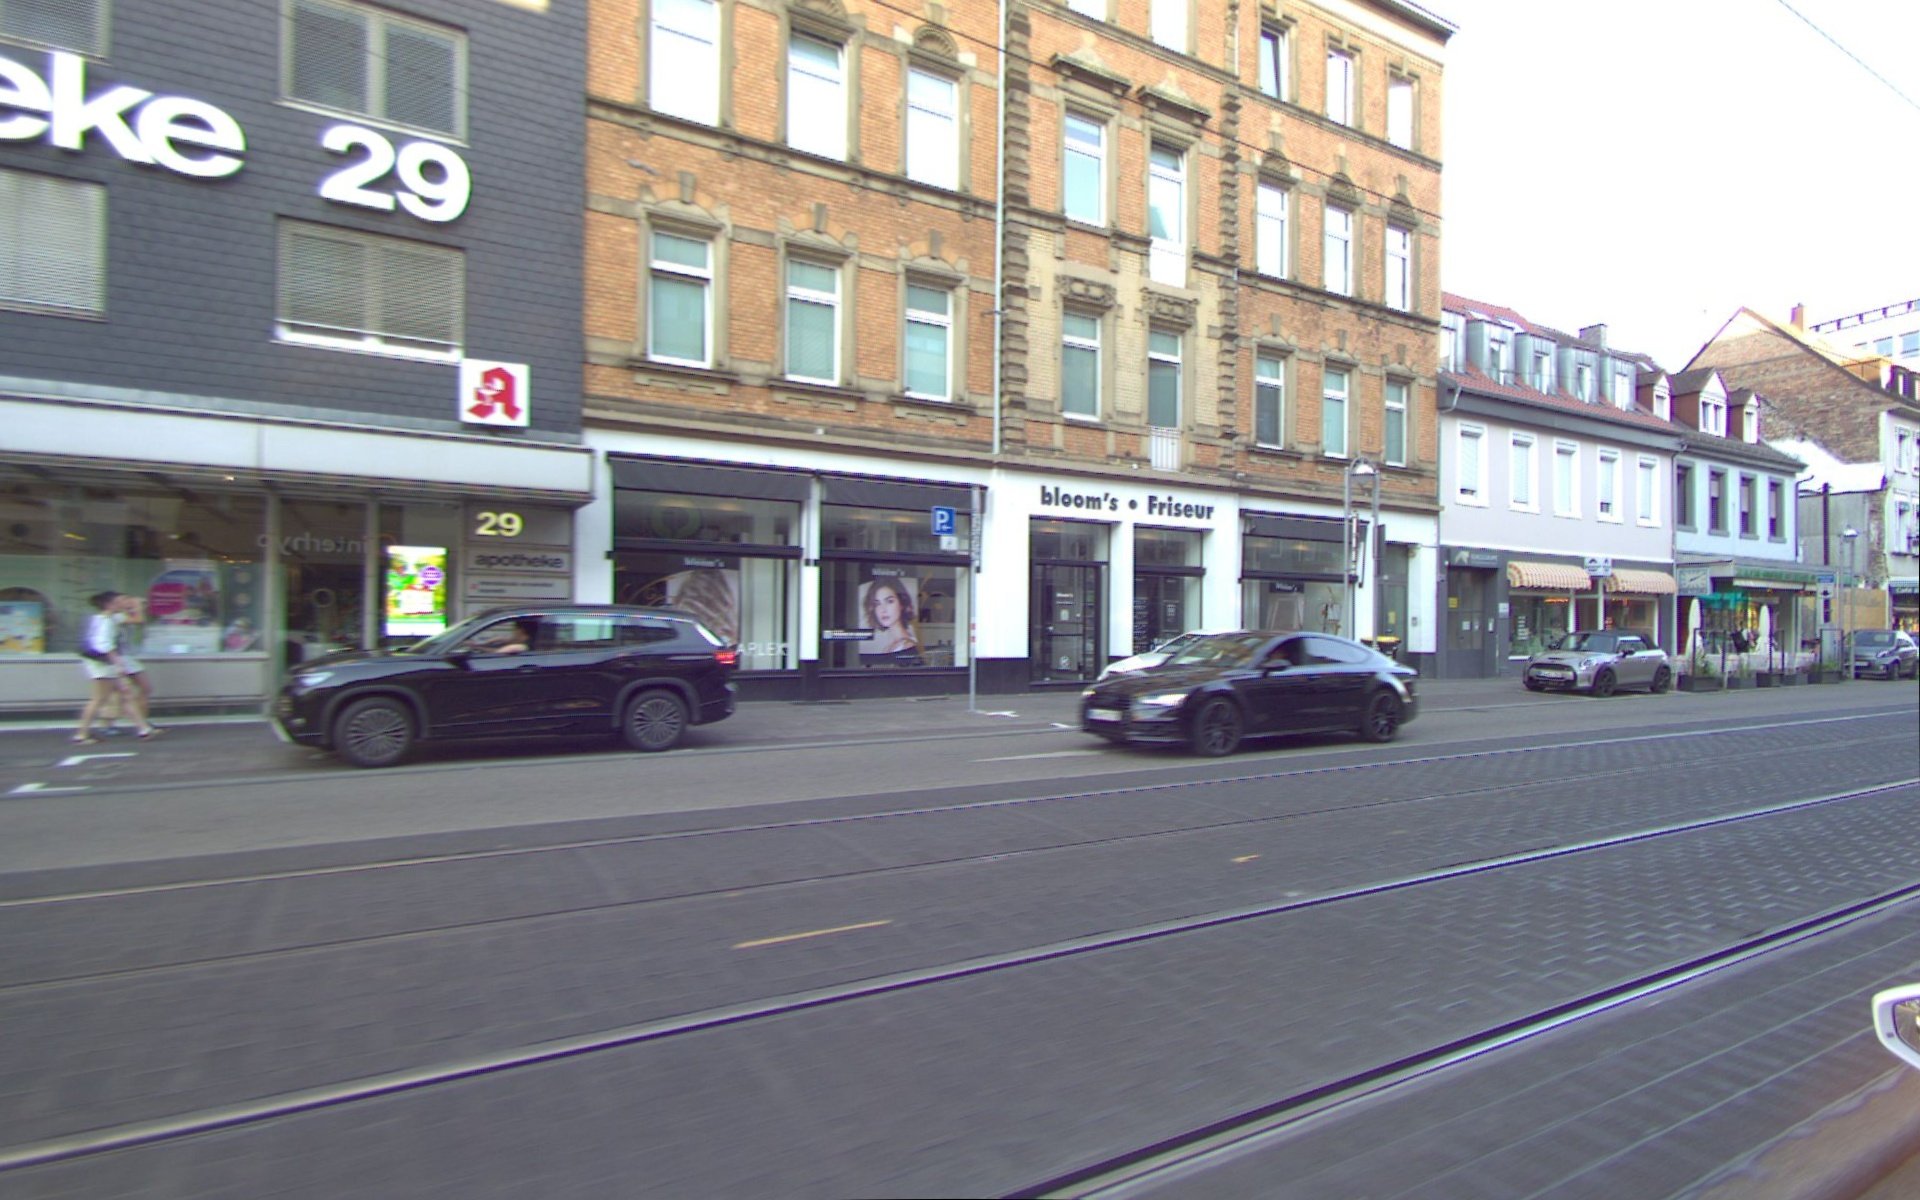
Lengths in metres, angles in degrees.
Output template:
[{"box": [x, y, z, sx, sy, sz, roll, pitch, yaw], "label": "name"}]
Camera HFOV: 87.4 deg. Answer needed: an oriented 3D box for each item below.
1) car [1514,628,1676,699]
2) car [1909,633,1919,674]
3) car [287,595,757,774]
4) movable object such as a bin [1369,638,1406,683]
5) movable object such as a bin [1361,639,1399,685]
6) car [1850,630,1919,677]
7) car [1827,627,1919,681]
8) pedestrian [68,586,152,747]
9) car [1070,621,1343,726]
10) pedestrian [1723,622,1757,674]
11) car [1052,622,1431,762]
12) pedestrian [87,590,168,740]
[{"box": [14.788, 1.436, 23.355, 3.767, 1.459, 1.591, 2, 1, -30], "label": "car"}, {"box": [36.366, 1.952, 36.205, 4.278, 1.472, 1.984, 1, -1, -30], "label": "car"}, {"box": [-4.851, 0.843, 11.551, 4.588, 1.697, 1.922, 1, 0, -29], "label": "car"}, {"box": [10.446, 1.469, 24.543, 0.686, 1.047, 0.492, 1, 1, -31], "label": "movable object such as a bin"}, {"box": [9.975, 1.462, 23.843, 0.652, 1.057, 0.515, 1, 1, -31], "label": "movable object such as a bin"}, {"box": [32.210, 1.761, 33.810, 4.764, 1.472, 1.984, 1, -1, -30], "label": "car"}, {"box": [28.525, 1.671, 31.355, 2.764, 1.598, 1.469, 1, -2, -32], "label": "car"}, {"box": [-9.395, 0.713, 11.126, 0.595, 1.722, 0.617, 0, 0, -31], "label": "pedestrian"}, {"box": [4.254, 1.175, 17.092, 4.561, 1.472, 1.858, 2, 1, -33], "label": "car"}, {"box": [25.400, 1.553, 32.712, 0.686, 1.666, 0.659, 1, 0, -30], "label": "pedestrian"}, {"box": [3.603, 1.061, 12.663, 4.595, 1.472, 1.984, 1, -3, -31], "label": "car"}, {"box": [-9.697, 0.729, 11.723, 0.617, 1.683, 0.679, 0, 0, -31], "label": "pedestrian"}]
